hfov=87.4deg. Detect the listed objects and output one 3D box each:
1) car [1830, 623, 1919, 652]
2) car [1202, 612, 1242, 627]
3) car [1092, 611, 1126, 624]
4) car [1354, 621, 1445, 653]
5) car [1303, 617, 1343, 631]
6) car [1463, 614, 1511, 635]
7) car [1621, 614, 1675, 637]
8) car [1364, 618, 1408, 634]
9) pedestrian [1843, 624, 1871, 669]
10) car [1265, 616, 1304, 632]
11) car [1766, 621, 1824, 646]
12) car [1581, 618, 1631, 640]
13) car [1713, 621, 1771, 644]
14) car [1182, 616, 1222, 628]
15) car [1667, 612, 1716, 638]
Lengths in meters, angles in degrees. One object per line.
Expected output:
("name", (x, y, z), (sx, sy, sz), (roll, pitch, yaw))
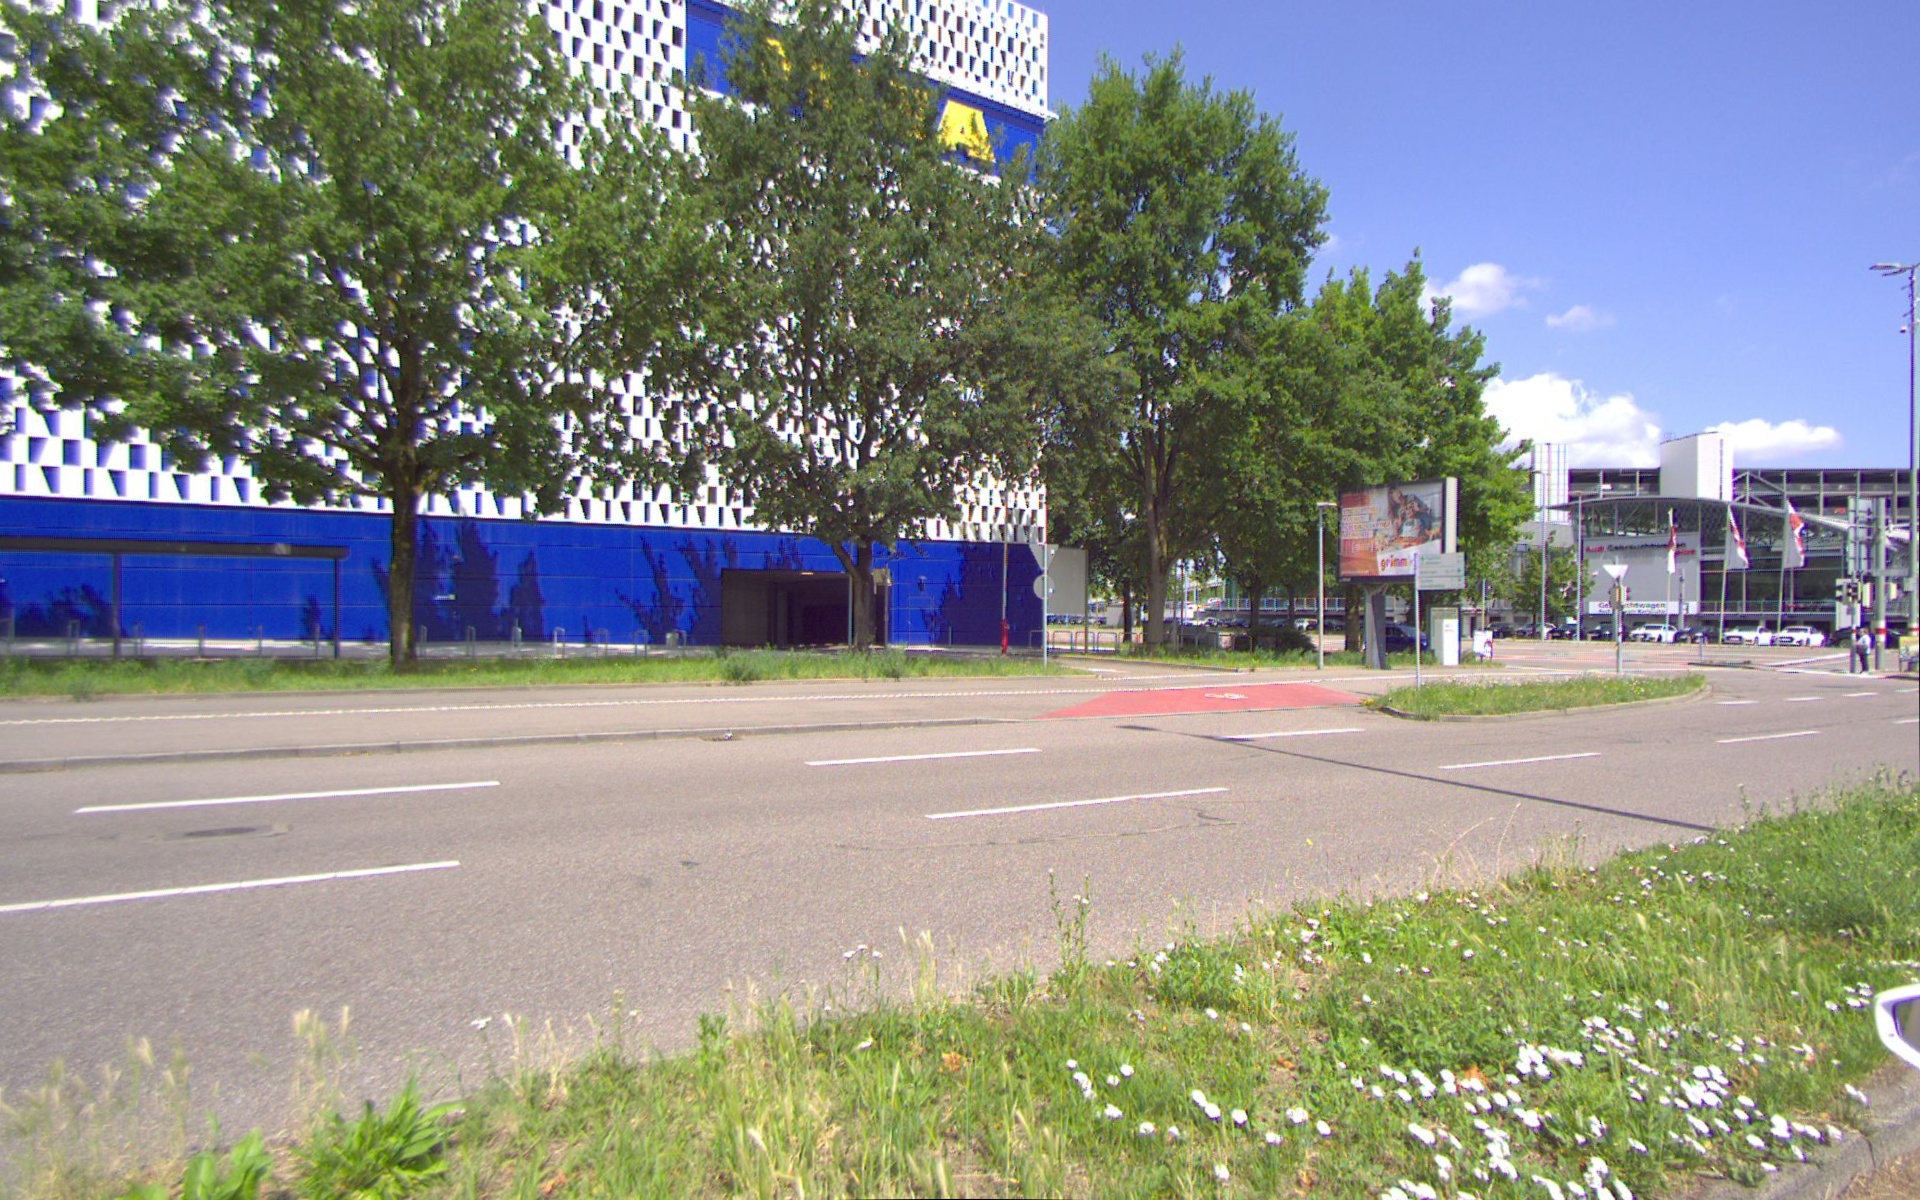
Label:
("car", (54.543, 2.206, 59.852), (1.662, 1.533, 3.768), (0, 0, -34))
("car", (26.428, 1.946, 101.301), (3.686, 1.409, 1.690), (1, 0, -30))
("car", (17.606, 2.107, 118.832), (3.686, 1.409, 1.690), (1, 0, -30))
("car", (23.306, 1.956, 53.326), (1.983, 1.530, 3.955), (1, 0, -39))
("car", (32.809, 2.188, 90.703), (3.462, 1.207, 1.584), (1, -1, -30))
("car", (41.208, 1.910, 78.529), (3.663, 1.508, 1.825), (0, 0, -35))
("car", (48.120, 1.775, 70.254), (3.662, 1.506, 1.868), (0, 0, -34))
("car", (35.052, 2.148, 82.656), (3.462, 1.207, 1.584), (1, 0, -30))
("pedestrian", (30.777, 1.592, 34.477), (0.502, 1.532, 0.470), (1, 0, -4))
("car", (30.486, 2.267, 94.314), (3.462, 1.409, 1.584), (1, 0, -30))
("car", (52.849, 2.096, 63.550), (3.987, 1.469, 1.765), (0, 0, -34))
("car", (46.779, 2.081, 72.733), (3.662, 1.506, 1.717), (0, 0, -34))
("car", (51.264, 2.117, 65.826), (3.712, 1.394, 1.896), (0, 0, -34))
("car", (25.739, 2.326, 106.868), (3.952, 1.271, 1.789), (0, 0, -30))
("car", (49.476, 1.669, 67.892), (3.584, 1.683, 1.743), (0, 0, -38))
